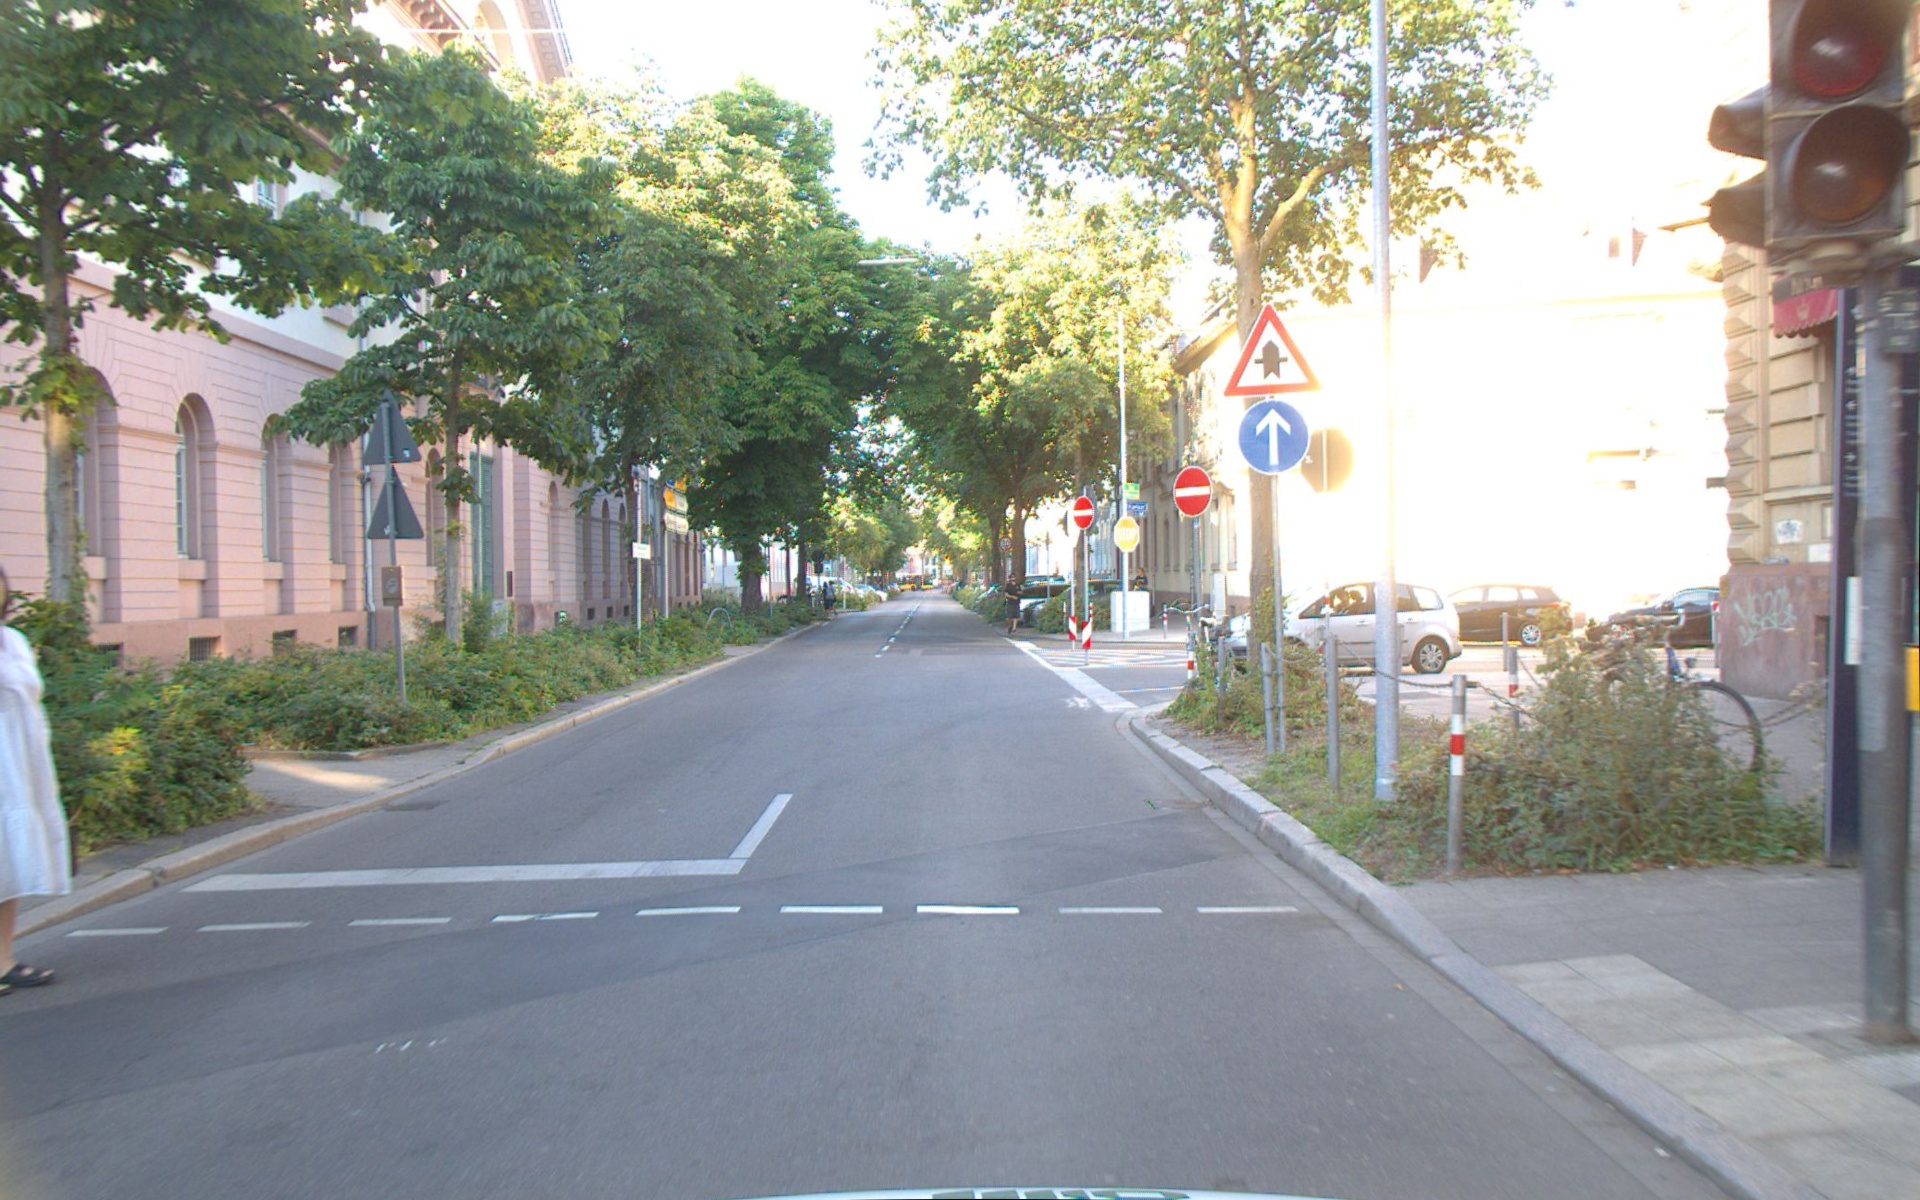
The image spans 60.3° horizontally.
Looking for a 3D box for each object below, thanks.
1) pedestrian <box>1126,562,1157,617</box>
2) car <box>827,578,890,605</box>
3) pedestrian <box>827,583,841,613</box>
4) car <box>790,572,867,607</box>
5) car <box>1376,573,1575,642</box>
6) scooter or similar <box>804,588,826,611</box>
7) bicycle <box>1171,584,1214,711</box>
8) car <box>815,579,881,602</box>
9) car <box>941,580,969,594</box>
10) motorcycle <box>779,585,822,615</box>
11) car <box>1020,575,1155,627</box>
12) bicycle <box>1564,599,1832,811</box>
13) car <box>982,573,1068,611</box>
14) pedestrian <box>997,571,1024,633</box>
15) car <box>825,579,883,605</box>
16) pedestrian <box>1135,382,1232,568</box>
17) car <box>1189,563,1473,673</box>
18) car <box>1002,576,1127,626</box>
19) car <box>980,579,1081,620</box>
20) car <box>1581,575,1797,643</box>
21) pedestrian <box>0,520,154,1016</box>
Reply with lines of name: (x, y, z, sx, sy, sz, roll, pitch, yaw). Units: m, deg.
pedestrian: (5.847, -0.332, 53.339, 0.924, 1.736, 0.782, -1, 2, 1)
car: (-8.311, -0.707, 135.658, 4.960, 2.119, 2.263, -1, 1, 1)
pedestrian: (-6.045, -0.111, 79.313, 0.641, 1.419, 0.607, 0, 0, -1)
car: (-8.721, -0.706, 110.185, 4.962, 2.119, 2.262, -2, 1, -2)
car: (12.319, 0.170, 39.543, 4.322, 1.569, 1.866, -1, 1, 25)
scooter or similar: (-6.992, -0.012, 79.950, 0.877, 1.108, 0.846, 0, 0, 10)
bicycle: (2.688, 0.526, 19.078, 0.407, 1.396, 1.289, -2, 1, 10)
car: (-8.791, -0.733, 130.251, 4.959, 1.645, 2.264, -1, 1, 2)
car: (-0.714, -1.898, 242.503, 3.902, 1.870, 2.002, -1, 1, 6)
motorcycle: (-7.217, -0.006, 75.023, 1.880, 1.280, 0.591, -1, 1, -1)
car: (3.942, 0.015, 51.545, 4.025, 1.516, 1.850, -1, 2, -2)
bicycle: (4.583, 0.591, 10.472, 0.513, 1.172, 2.247, -1, 1, -5)
car: (3.036, -0.379, 77.776, 3.934, 1.651, 1.780, -2, 1, -2)
pedestrian: (1.568, 0.048, 51.241, 0.777, 1.901, 0.752, -1, 0, 4)
car: (-9.377, -0.717, 146.498, 4.960, 2.119, 2.263, -1, 1, 0)
pedestrian: (2.707, -1.488, 20.133, 1.022, 2.184, 1.063, 0, 0, -1)
car: (6.168, 0.269, 27.578, 4.269, 1.682, 1.877, -1, 0, -17)
car: (3.535, 0.018, 56.504, 4.107, 1.506, 1.852, -3, 1, -1)
car: (2.816, -0.035, 66.513, 3.934, 1.506, 1.780, -1, 1, -2)
car: (16.592, 0.207, 37.834, 4.411, 1.393, 1.776, -1, 3, 23)
pedestrian: (-3.839, 0.649, 6.781, 0.755, 1.921, 0.790, -1, 0, -13)
